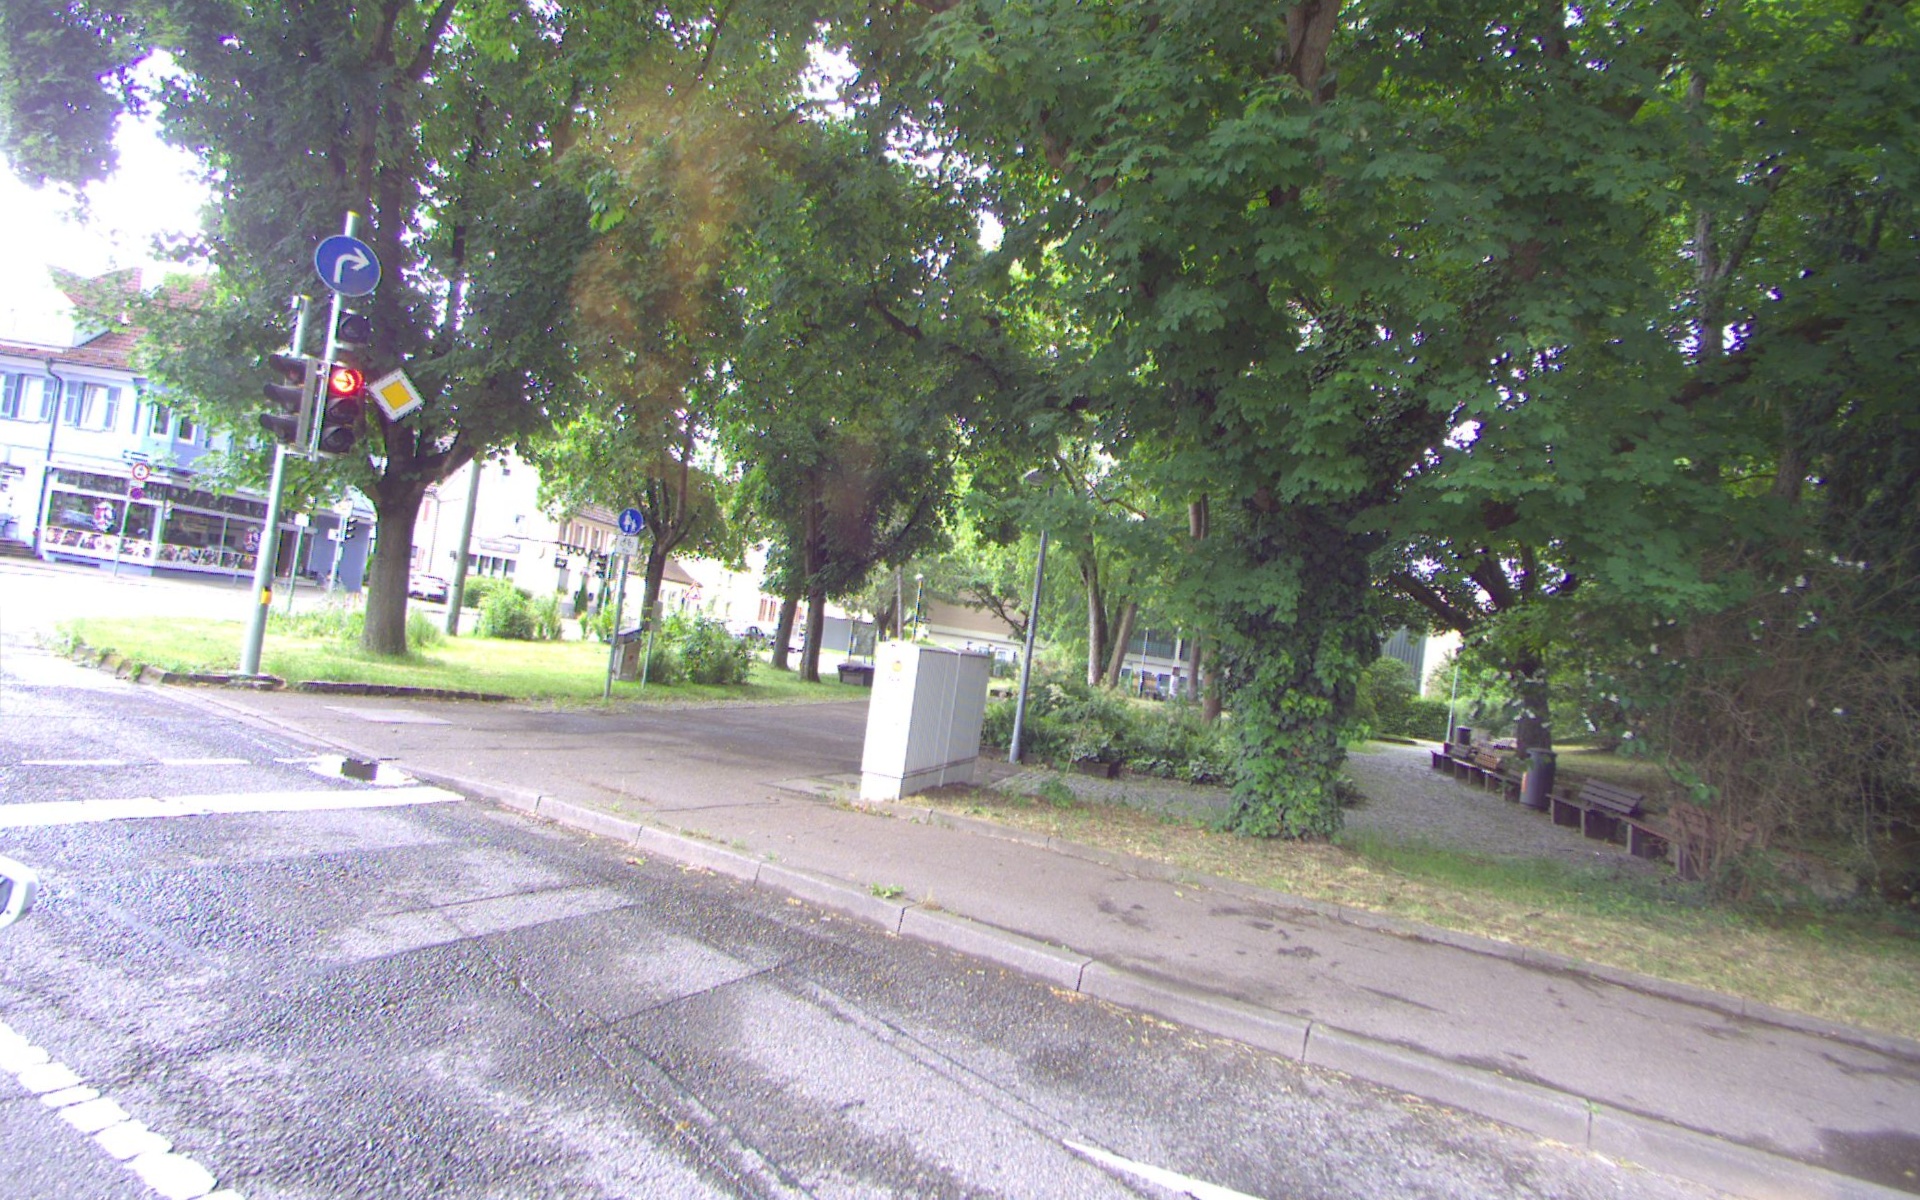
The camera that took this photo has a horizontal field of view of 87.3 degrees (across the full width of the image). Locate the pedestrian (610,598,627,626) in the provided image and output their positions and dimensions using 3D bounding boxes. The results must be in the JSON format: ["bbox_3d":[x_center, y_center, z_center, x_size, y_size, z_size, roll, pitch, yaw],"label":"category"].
[{"bbox_3d":[-21.271,0.729,62.682,0.600,1.668,0.610,7,-1,3],"label":"pedestrian"}]

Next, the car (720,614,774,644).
[{"bbox_3d":[-11.564,1.595,54.819,1.530,1.336,3.514,7,-2,9],"label":"car"}]

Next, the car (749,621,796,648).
[{"bbox_3d":[-11.162,2.068,60.104,1.530,1.336,3.514,7,-2,8],"label":"car"}]

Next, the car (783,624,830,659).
[{"bbox_3d":[-10.051,2.755,66.172,1.750,2.037,4.005,7,-2,7],"label":"car"}]

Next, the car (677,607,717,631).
[{"bbox_3d":[-19.365,1.436,74.247,1.528,1.436,4.005,7,-2,4],"label":"car"}]

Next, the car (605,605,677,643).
[{"bbox_3d":[-14.005,1.089,44.354,1.530,1.336,3.514,7,-2,9],"label":"car"}]

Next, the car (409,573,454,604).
[{"bbox_3d":[-27.865,-0.608,53.142,1.479,1.384,3.166,8,-2,-19],"label":"car"}]

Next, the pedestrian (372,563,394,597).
[{"bbox_3d":[-27.738,-0.959,48.357,0.451,1.535,0.588,7,-1,21],"label":"pedestrian"}]
